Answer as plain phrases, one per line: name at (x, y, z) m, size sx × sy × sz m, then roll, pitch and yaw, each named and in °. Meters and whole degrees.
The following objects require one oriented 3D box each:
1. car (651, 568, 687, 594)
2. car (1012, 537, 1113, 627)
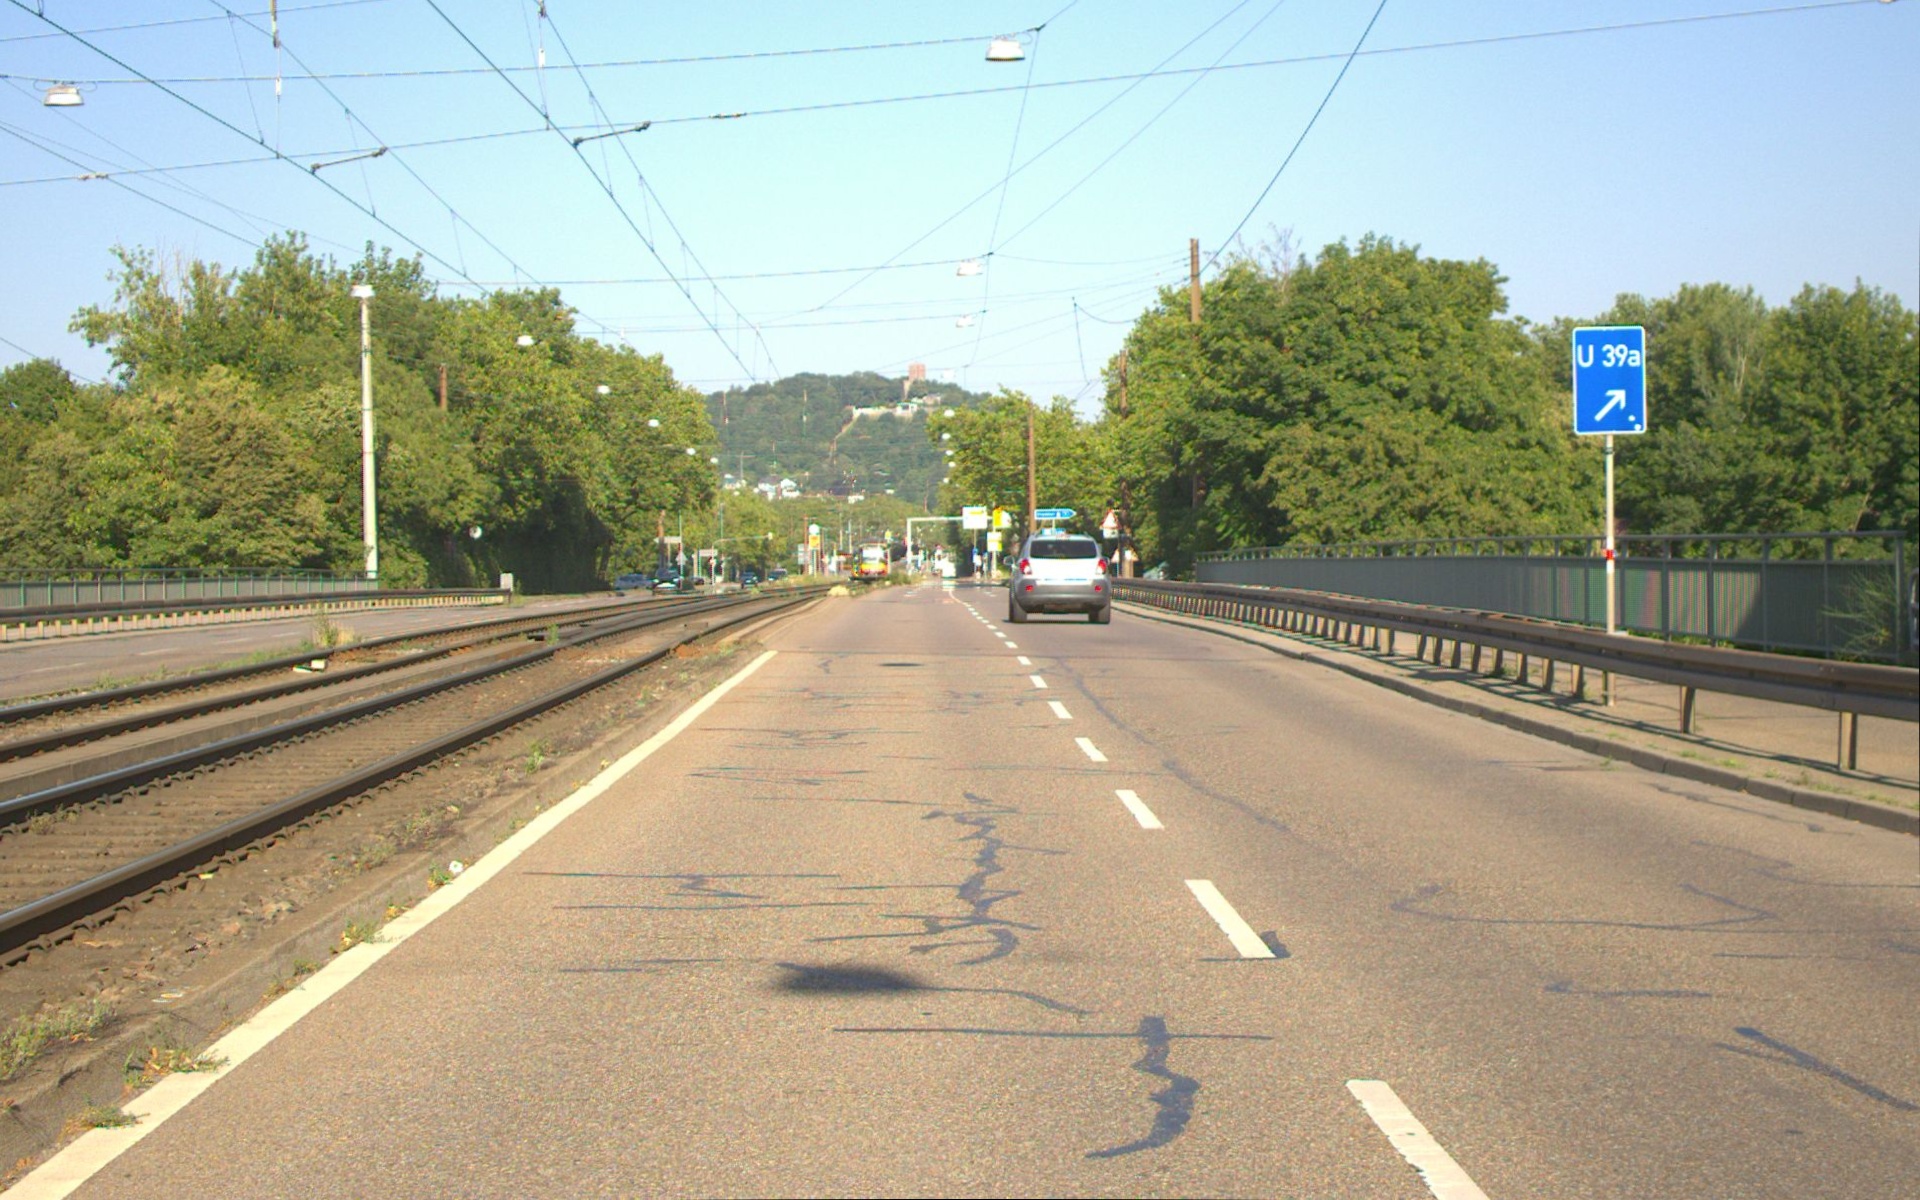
car at (-18.931, -1.270, 223.642) m, size 1.993 × 1.612 × 4.000 m, roll 1°, pitch 1°, yaw -1°
car at (1.976, -0.359, 66.275) m, size 1.888 × 1.688 × 4.256 m, roll 0°, pitch 1°, yaw 2°
